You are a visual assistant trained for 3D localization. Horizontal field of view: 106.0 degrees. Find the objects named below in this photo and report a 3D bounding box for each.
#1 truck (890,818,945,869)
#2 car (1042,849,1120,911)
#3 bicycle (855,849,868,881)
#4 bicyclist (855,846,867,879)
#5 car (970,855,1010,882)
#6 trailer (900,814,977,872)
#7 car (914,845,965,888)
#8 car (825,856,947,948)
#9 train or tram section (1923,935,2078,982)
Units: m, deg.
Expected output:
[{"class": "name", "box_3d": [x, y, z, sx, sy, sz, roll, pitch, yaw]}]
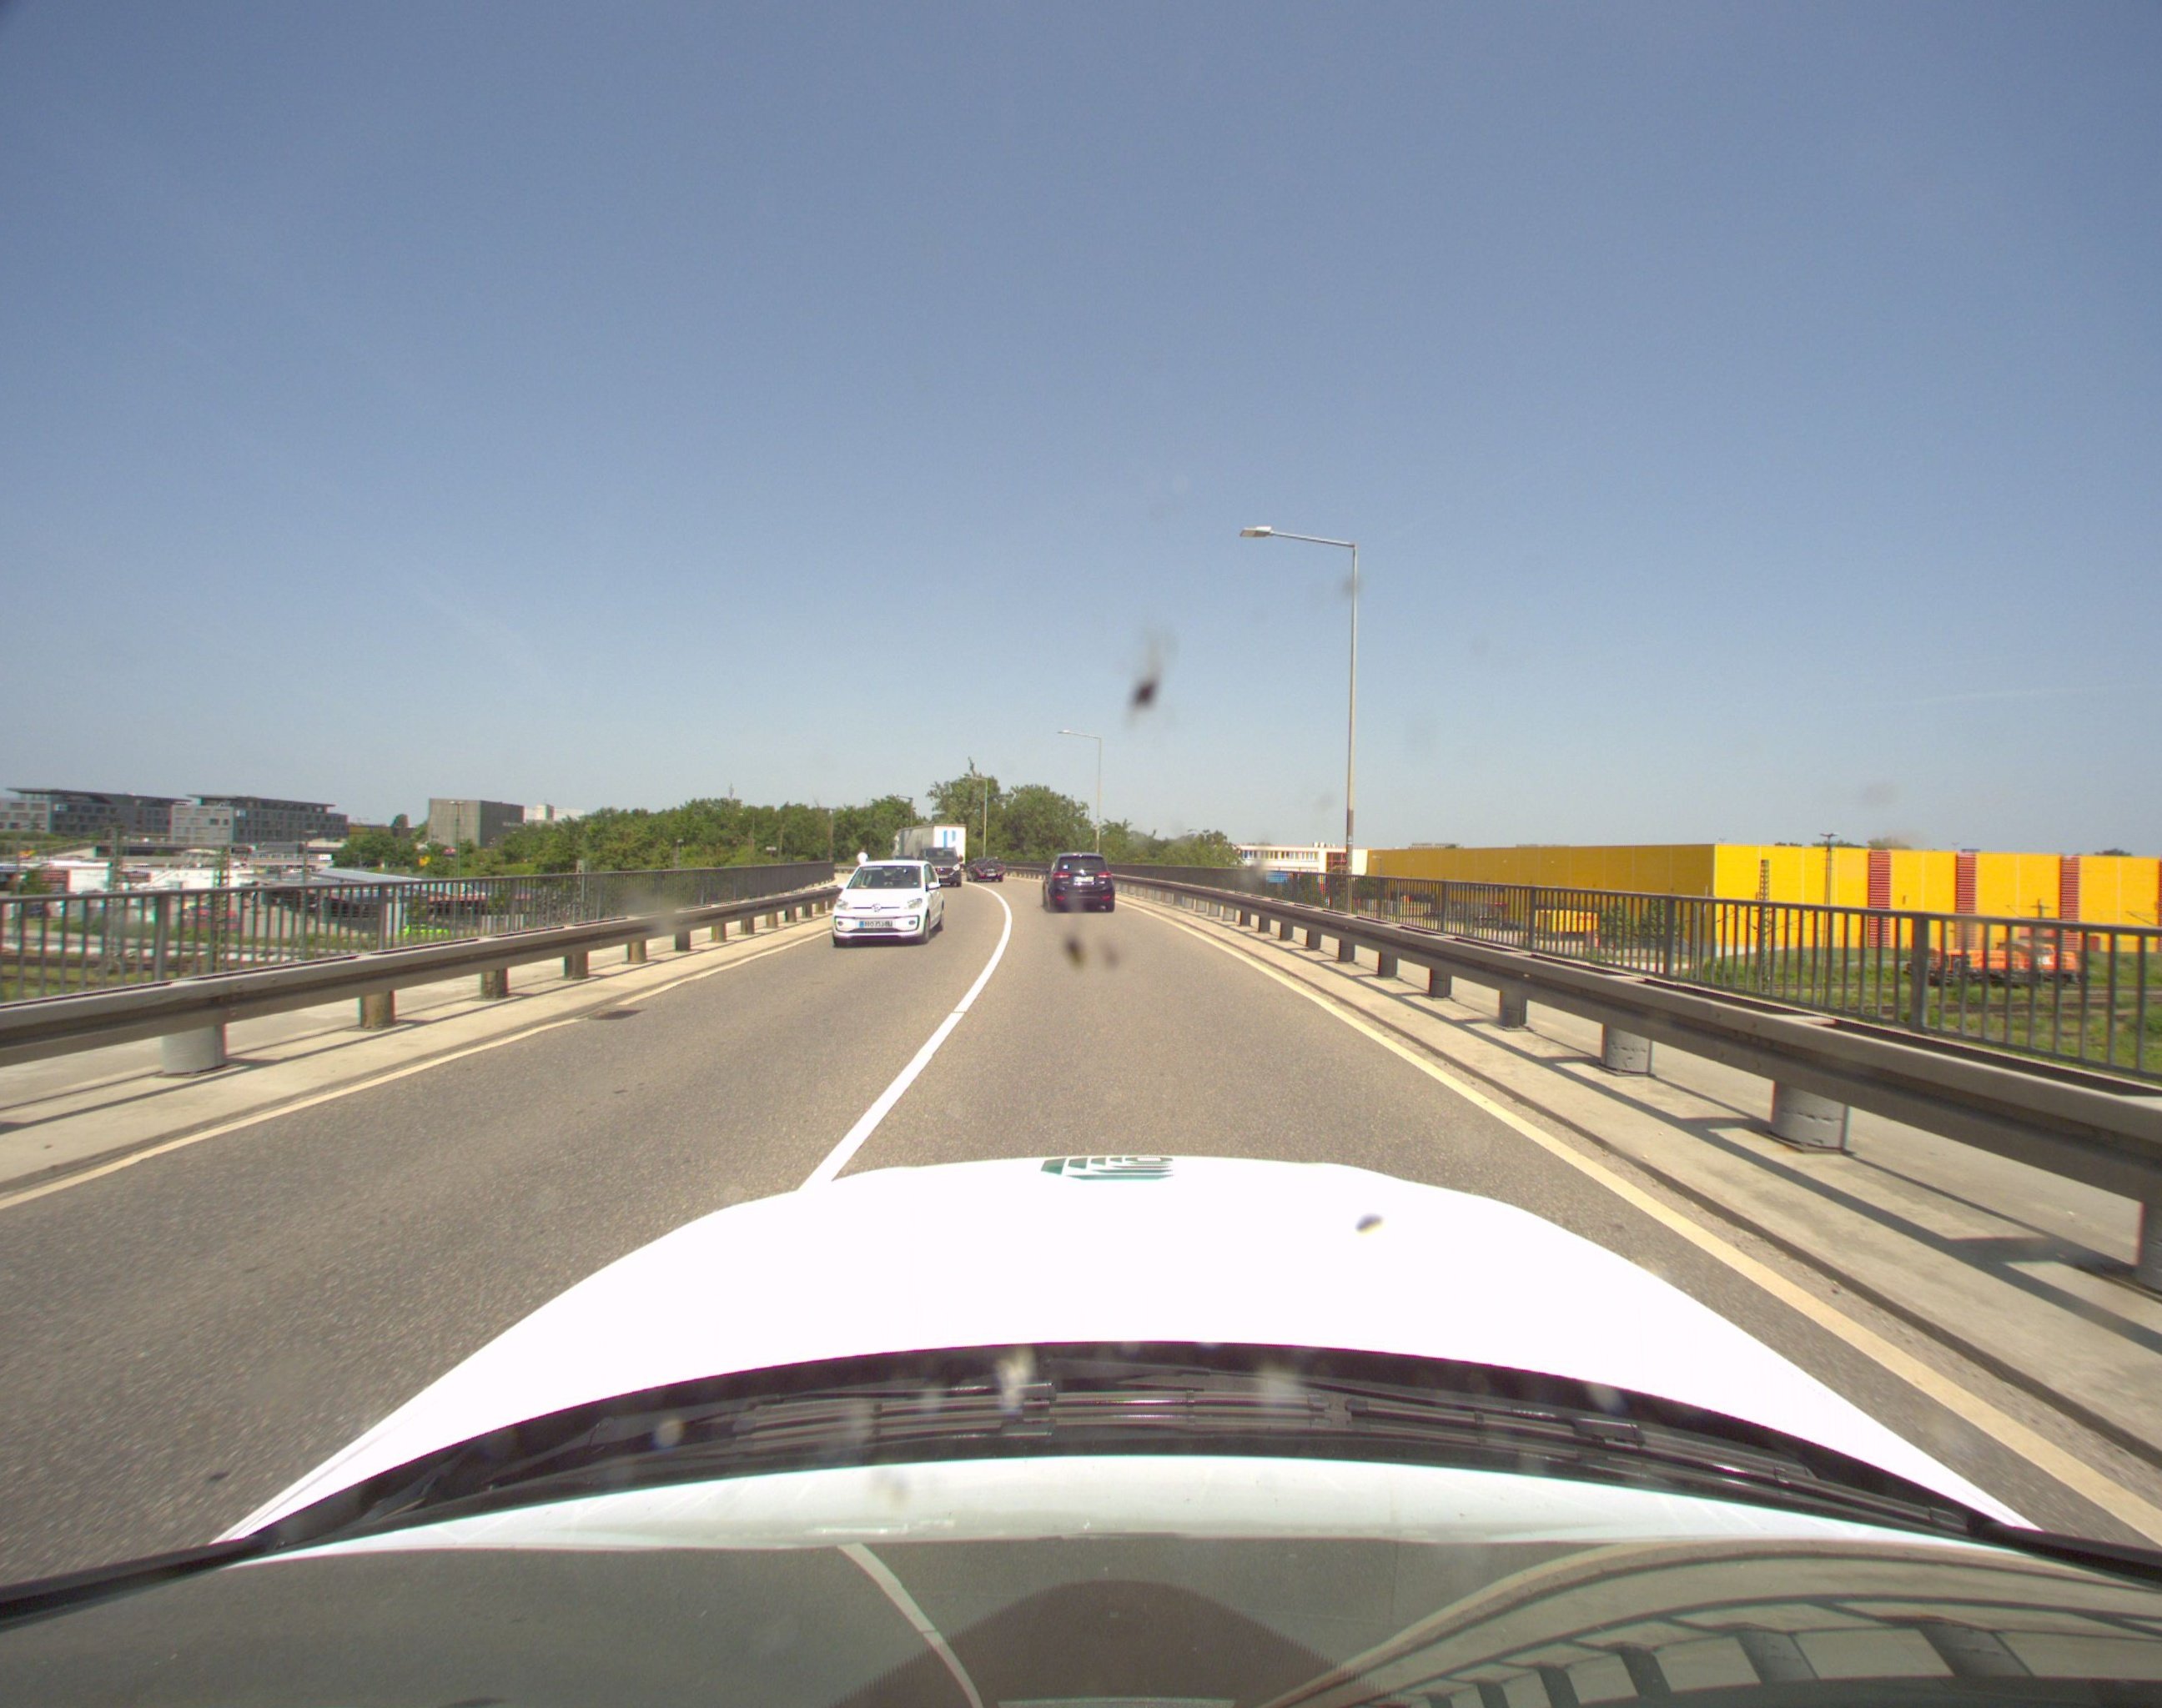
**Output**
[{"class": "truck", "box_3d": [-14.953, -0.976, 74.210, 3.589, 4.440, 6.463, 0, 1, -24]}, {"class": "car", "box_3d": [-0.095, 0.645, 22.802, 1.918, 1.574, 3.885, 0, 1, -4]}, {"class": "bicycle", "box_3d": [-12.737, 0.607, 47.218, 0.700, 1.801, 2.168, 0, 0, -17]}, {"class": "bicyclist", "box_3d": [-12.777, 0.471, 47.311, 0.626, 1.886, 0.708, 0, 0, -18]}, {"class": "car", "box_3d": [-5.367, 0.817, 47.559, 2.013, 1.429, 3.762, 0, 1, -12]}, {"class": "trailer", "box_3d": [-12.096, -0.882, 67.906, 3.587, 4.384, 11.349, 0, 1, -24]}, {"class": "car", "box_3d": [-7.191, 0.618, 40.960, 2.011, 1.959, 5.242, -1, -1, -16]}, {"class": "car", "box_3d": [-3.525, 0.801, 15.292, 1.661, 1.464, 3.481, 0, 1, -4]}, {"class": "train or tram section", "box_3d": [85.292, 9.724, 75.551, 13.954, 3.689, 2.233, 3, 0, -9]}]
